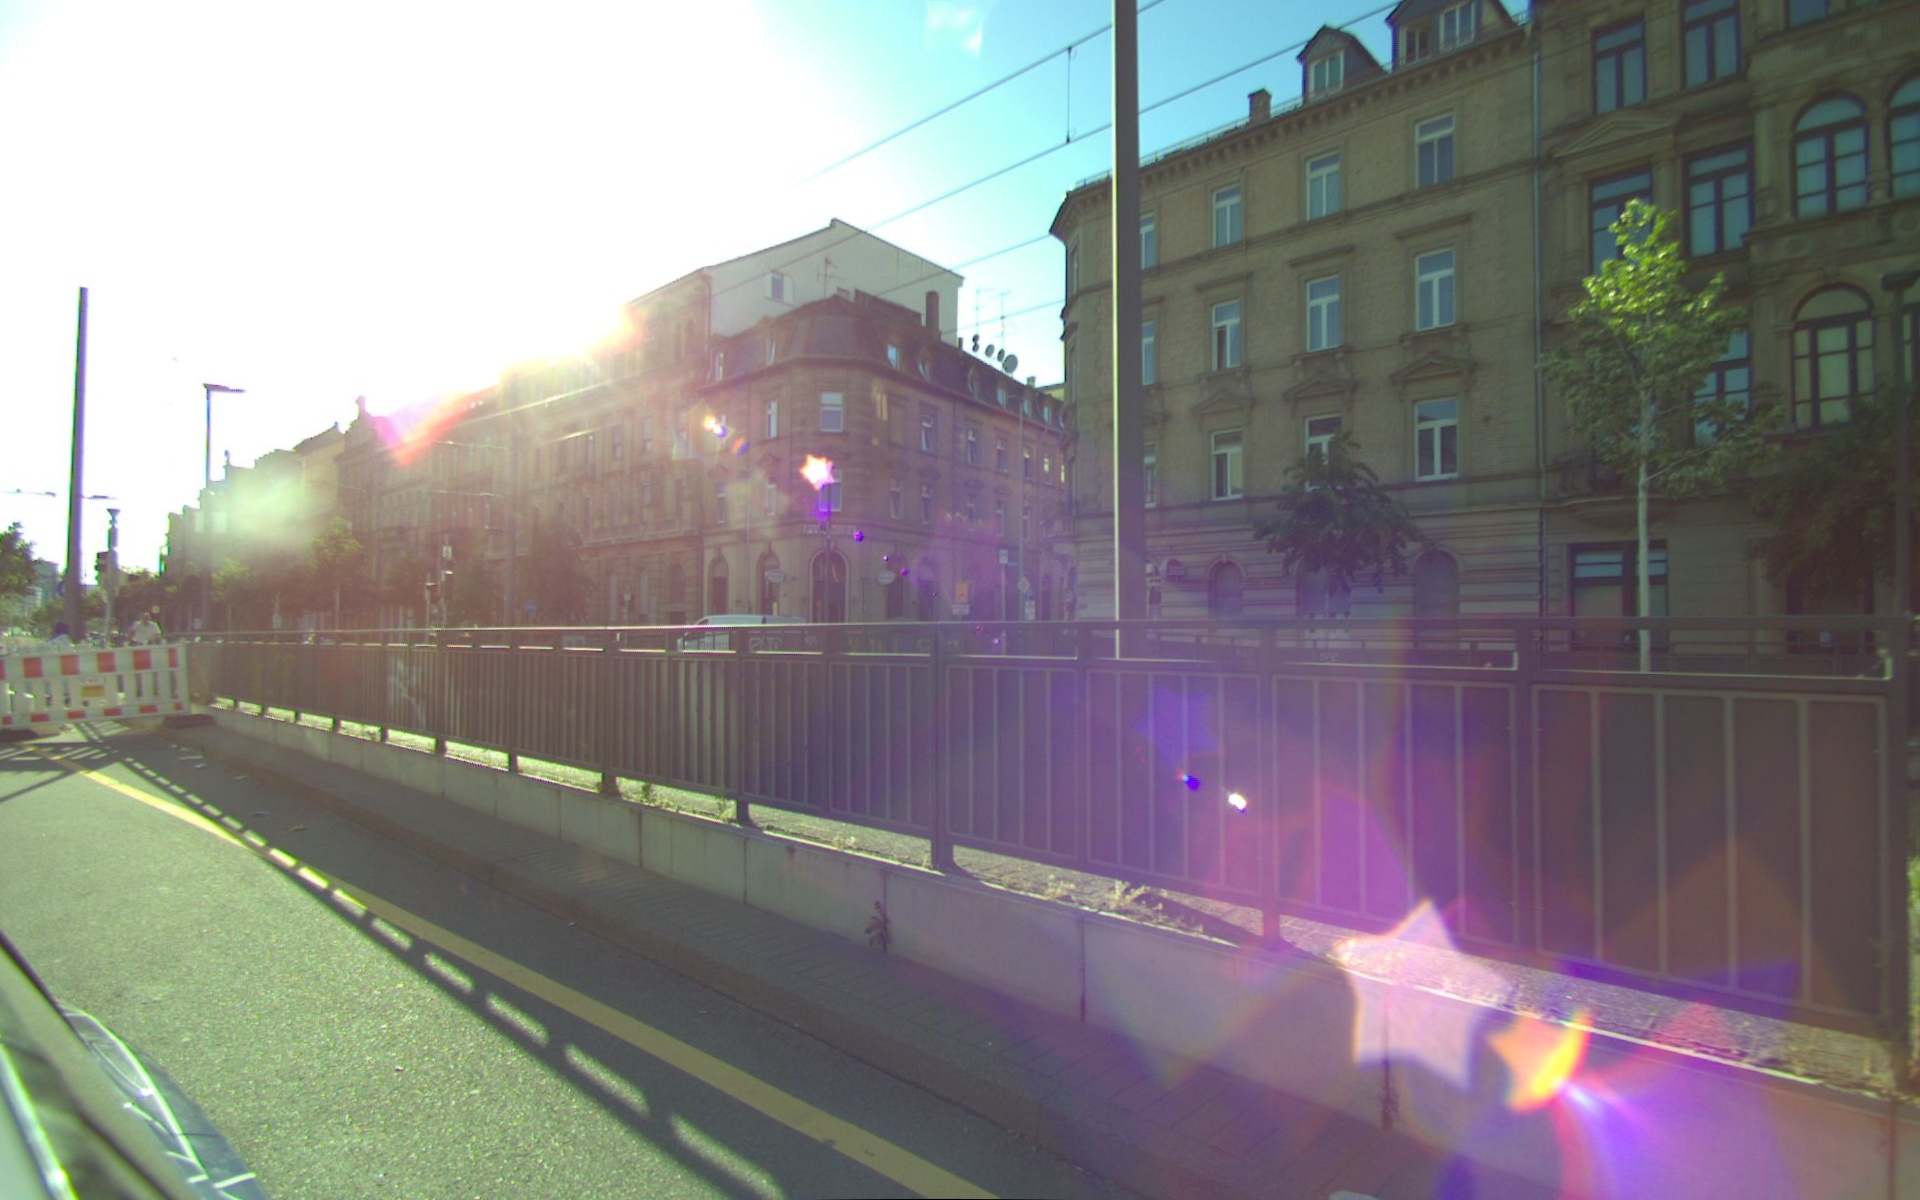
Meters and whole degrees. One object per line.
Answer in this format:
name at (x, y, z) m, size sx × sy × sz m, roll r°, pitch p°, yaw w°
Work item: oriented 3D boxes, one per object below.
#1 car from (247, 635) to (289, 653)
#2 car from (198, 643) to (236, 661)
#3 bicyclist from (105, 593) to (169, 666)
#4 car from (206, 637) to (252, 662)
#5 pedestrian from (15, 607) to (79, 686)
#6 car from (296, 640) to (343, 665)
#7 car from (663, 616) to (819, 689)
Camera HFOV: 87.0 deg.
car at (-56.770, 3.588, 82.989) m, size 4.308 × 1.449 × 1.972 m, roll -2°, pitch -3°, yaw 42°
car at (-68.362, 4.772, 93.080) m, size 4.985 × 1.549 × 1.971 m, roll -2°, pitch -1°, yaw 43°
bicyclist at (-20.423, 0.731, 25.141) m, size 0.849 × 1.787 × 0.880 m, roll -1°, pitch -2°, yaw 17°
car at (-50.003, 3.337, 69.162) m, size 4.478 × 1.652 × 1.776 m, roll -2°, pitch -3°, yaw 44°
pedestrian at (-17.557, 0.892, 19.465) m, size 0.946 × 1.469 × 0.781 m, roll -2°, pitch -3°, yaw 41°
car at (-46.745, 3.806, 73.835) m, size 1.916 × 1.671 × 4.546 m, roll 0°, pitch -1°, yaw -45°
car at (-6.348, 1.480, 29.065) m, size 4.580 × 1.895 × 1.973 m, roll -2°, pitch -1°, yaw 40°
